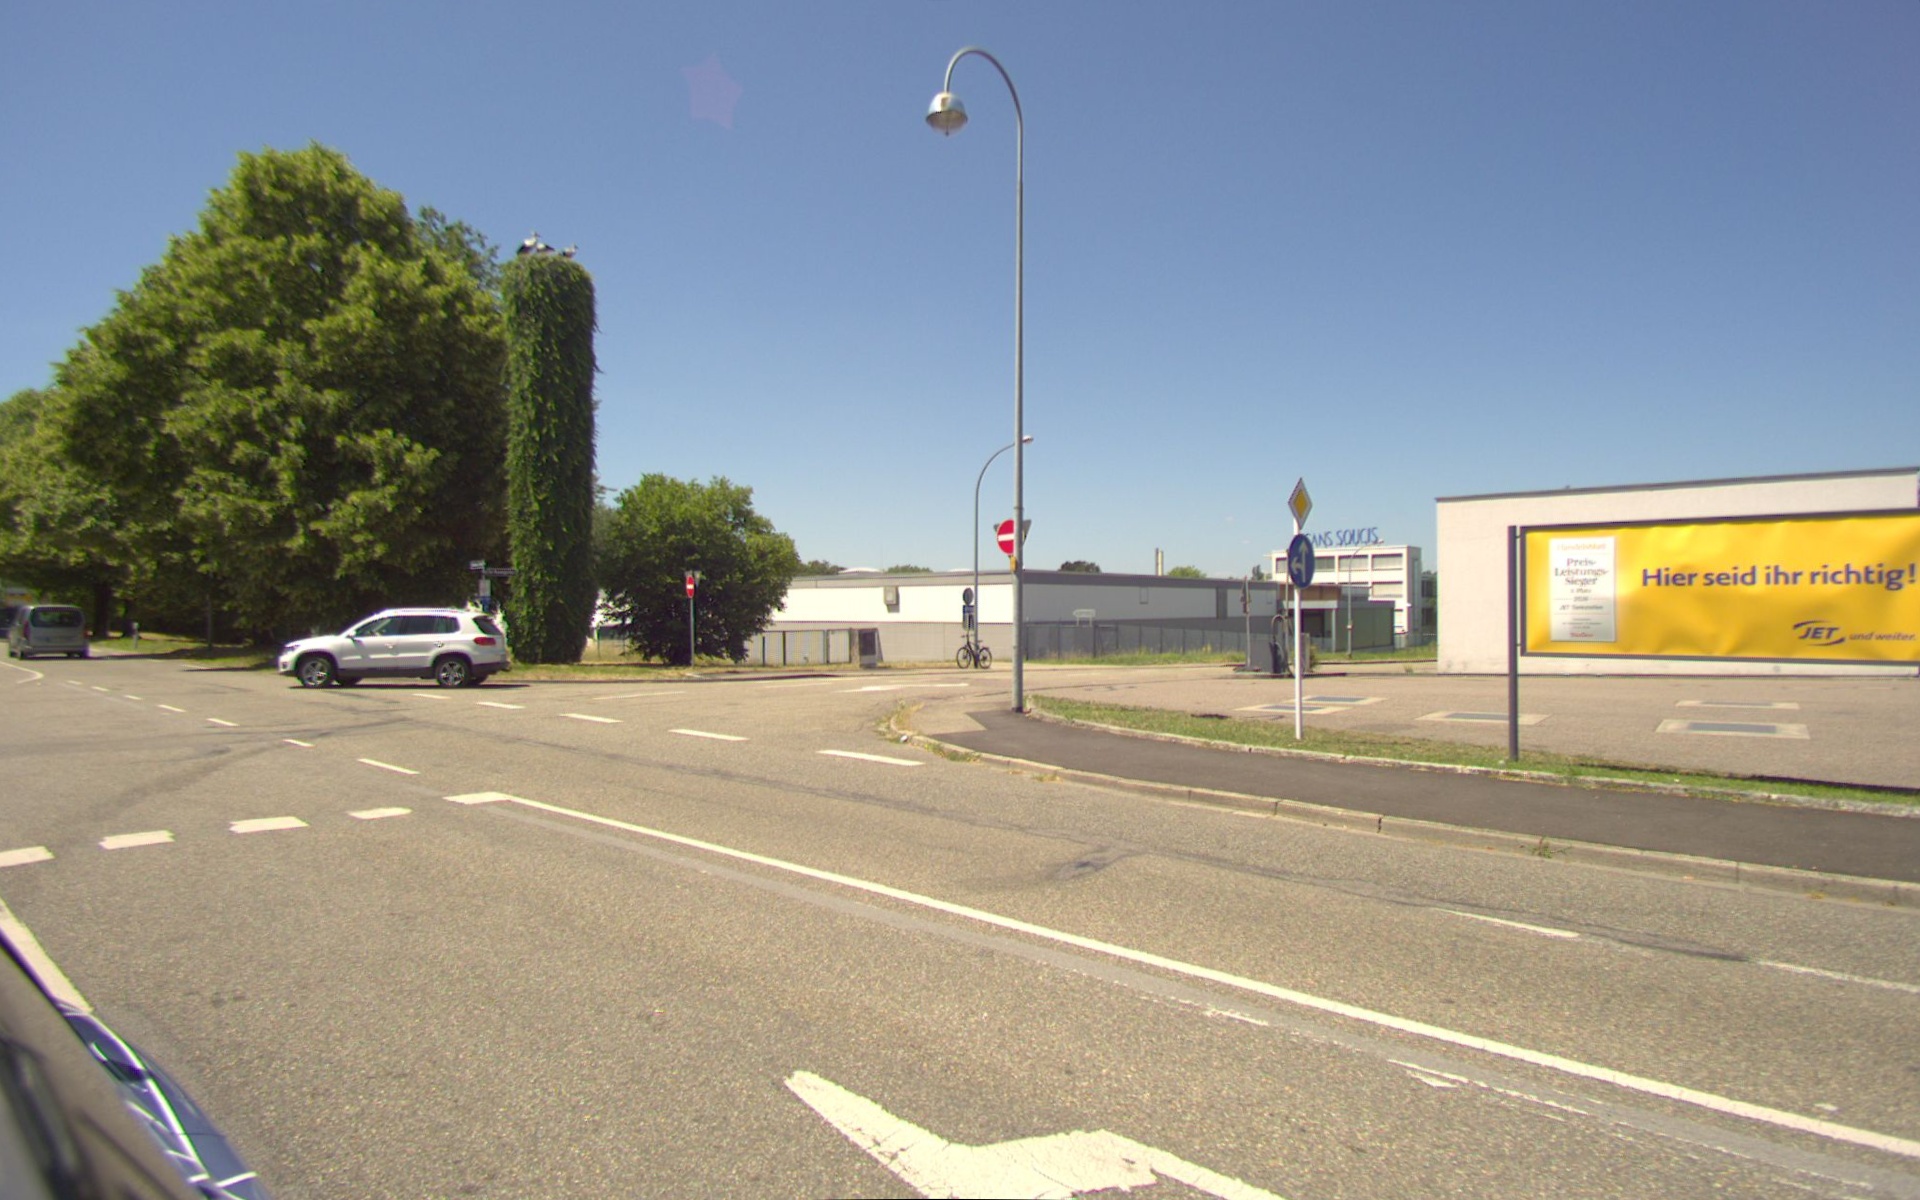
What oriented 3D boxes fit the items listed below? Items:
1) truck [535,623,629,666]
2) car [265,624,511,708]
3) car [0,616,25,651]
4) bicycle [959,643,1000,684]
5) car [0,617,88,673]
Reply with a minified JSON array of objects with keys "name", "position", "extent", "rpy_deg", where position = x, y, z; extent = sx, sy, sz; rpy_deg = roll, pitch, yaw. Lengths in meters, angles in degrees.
[{"name":"truck","position":[-26.809,3.115,71.378],"extent":[2.653,2.818,10.170],"rpy_deg":[1,-2,-42]},{"name":"car","position":[-12.077,1.382,21.677],"extent":[4.177,1.685,1.980],"rpy_deg":[1,-3,-13]},{"name":"car","position":[-51.239,1.792,53.948],"extent":[1.802,1.795,4.785],"rpy_deg":[4,-4,-44]},{"name":"bicycle","position":[0.669,2.133,34.246],"extent":[1.518,1.359,0.395],"rpy_deg":[3,-3,-42]},{"name":"car","position":[-31.022,1.483,34.145],"extent":[4.362,1.786,1.777],"rpy_deg":[-1,-2,41]}]
